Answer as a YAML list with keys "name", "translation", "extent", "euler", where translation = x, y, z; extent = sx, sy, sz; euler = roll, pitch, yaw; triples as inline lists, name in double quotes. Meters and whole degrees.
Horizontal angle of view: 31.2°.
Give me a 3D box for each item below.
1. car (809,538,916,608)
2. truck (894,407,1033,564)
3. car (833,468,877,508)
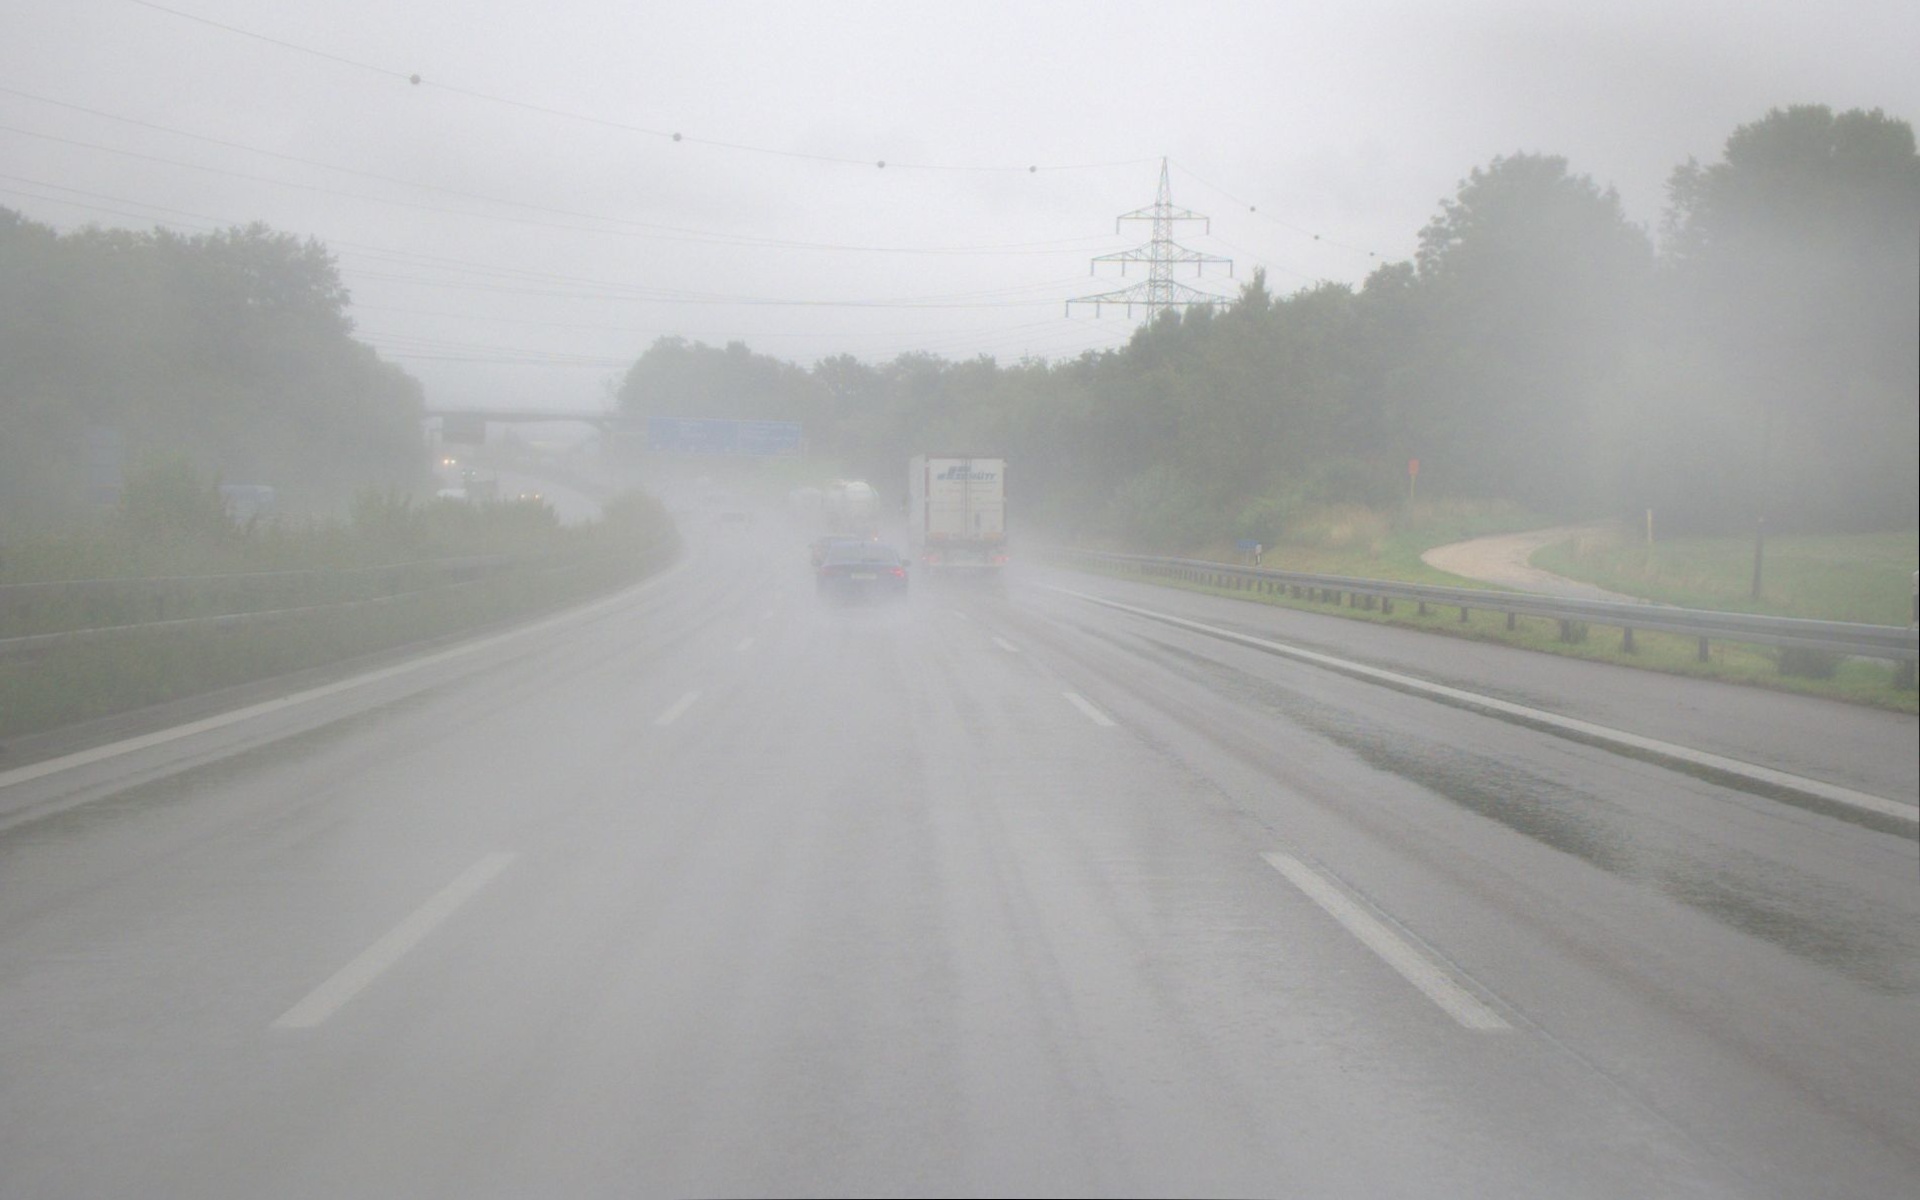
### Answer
- name: "car"
  translation: [-1.872, -0.542, 67.123]
  extent: [1.749, 1.208, 4.000]
  euler: [3, 1, 2]
- name: "truck"
  translation: [0.301, -3.884, 117.180]
  extent: [4.257, 4.955, 17.341]
  euler: [0, 2, 2]
- name: "car"
  translation: [-6.259, -6.681, 204.379]
  extent: [2.393, 2.264, 5.003]
  euler: [2, 2, -4]
